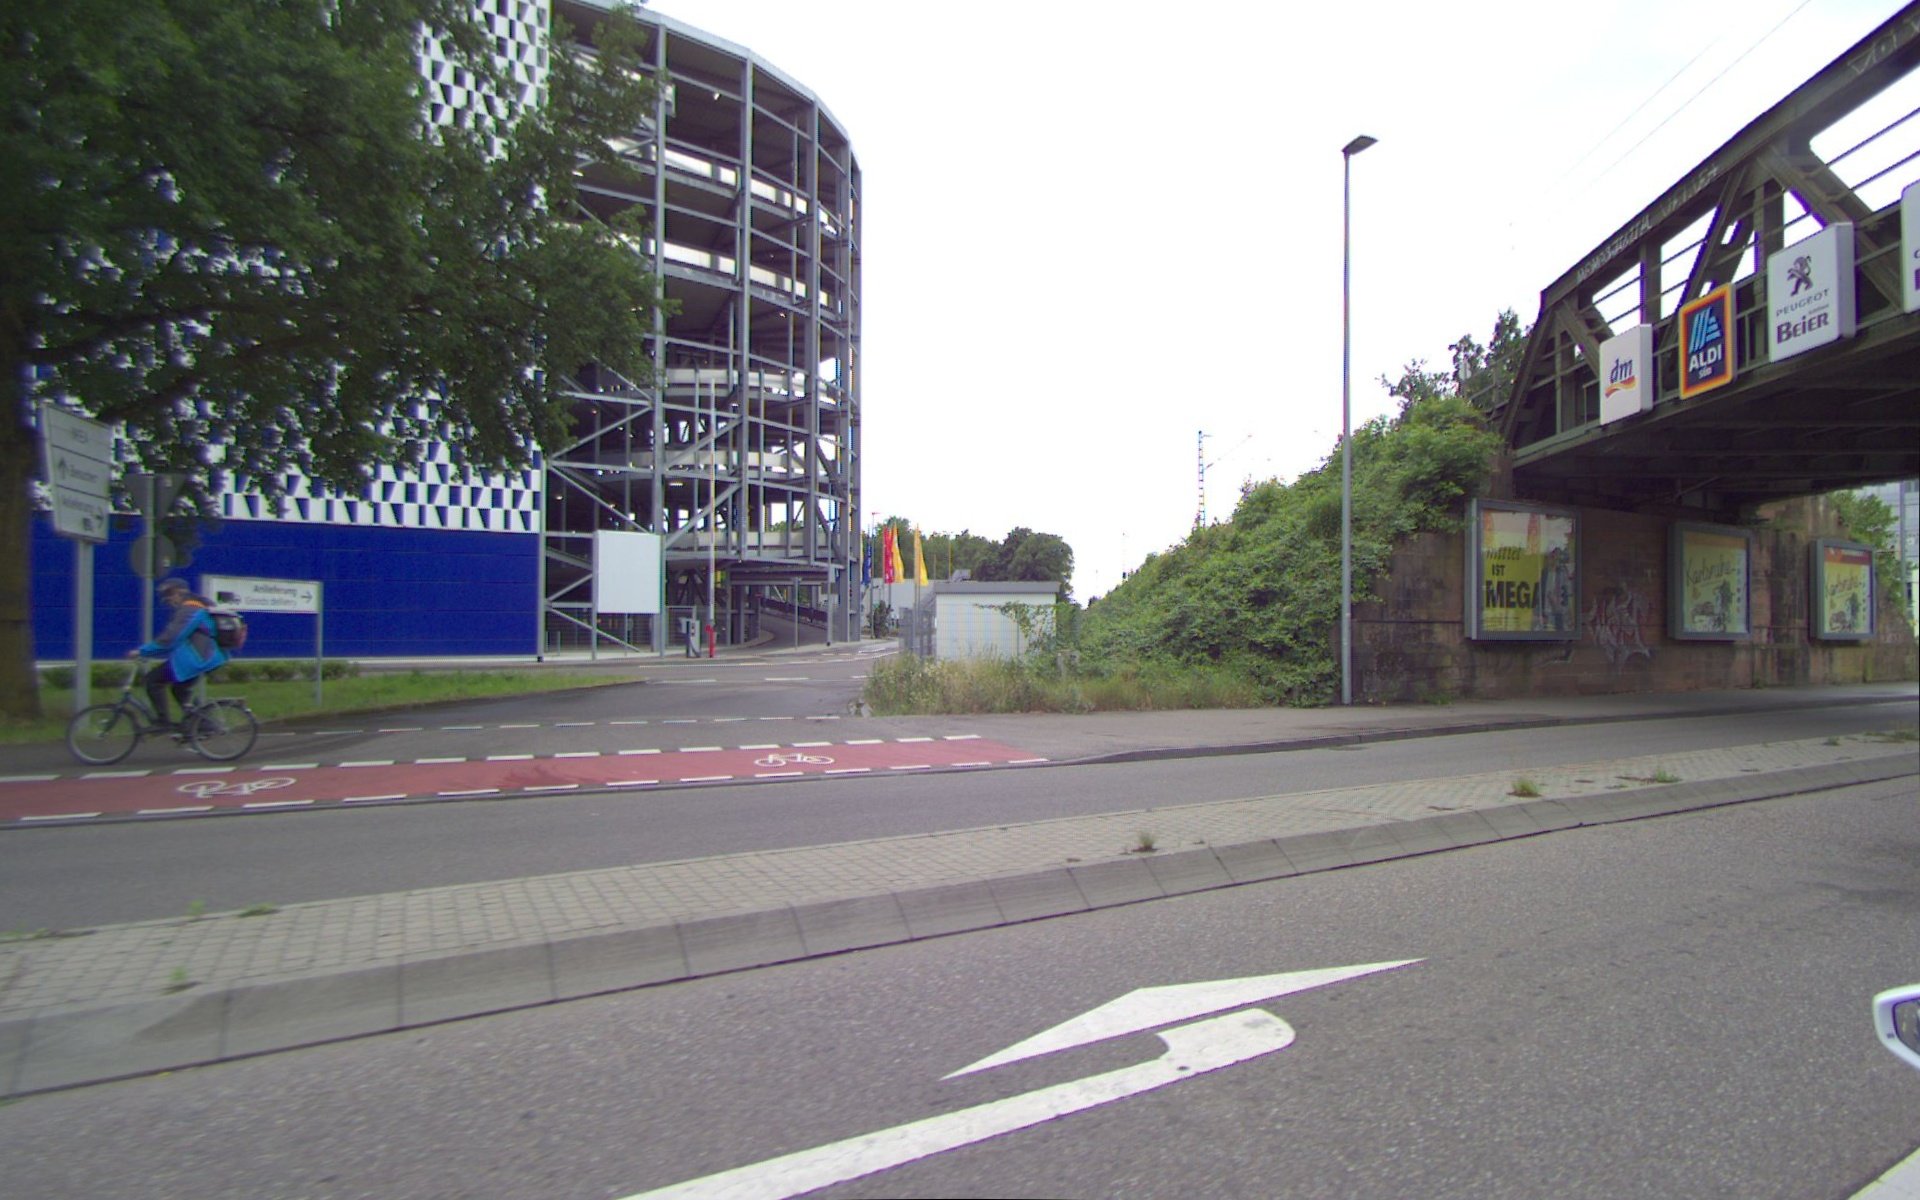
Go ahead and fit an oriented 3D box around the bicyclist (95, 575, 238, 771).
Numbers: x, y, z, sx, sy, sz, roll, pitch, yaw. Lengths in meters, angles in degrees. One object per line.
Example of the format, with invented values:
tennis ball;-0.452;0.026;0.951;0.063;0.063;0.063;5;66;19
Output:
bicyclist;-8.086;0.722;10.284;1.008;1.899;0.698;2;0;-30

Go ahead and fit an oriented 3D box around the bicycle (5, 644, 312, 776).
bicycle;-8.081;1.069;10.295;2.343;1.202;0.709;2;0;-30
